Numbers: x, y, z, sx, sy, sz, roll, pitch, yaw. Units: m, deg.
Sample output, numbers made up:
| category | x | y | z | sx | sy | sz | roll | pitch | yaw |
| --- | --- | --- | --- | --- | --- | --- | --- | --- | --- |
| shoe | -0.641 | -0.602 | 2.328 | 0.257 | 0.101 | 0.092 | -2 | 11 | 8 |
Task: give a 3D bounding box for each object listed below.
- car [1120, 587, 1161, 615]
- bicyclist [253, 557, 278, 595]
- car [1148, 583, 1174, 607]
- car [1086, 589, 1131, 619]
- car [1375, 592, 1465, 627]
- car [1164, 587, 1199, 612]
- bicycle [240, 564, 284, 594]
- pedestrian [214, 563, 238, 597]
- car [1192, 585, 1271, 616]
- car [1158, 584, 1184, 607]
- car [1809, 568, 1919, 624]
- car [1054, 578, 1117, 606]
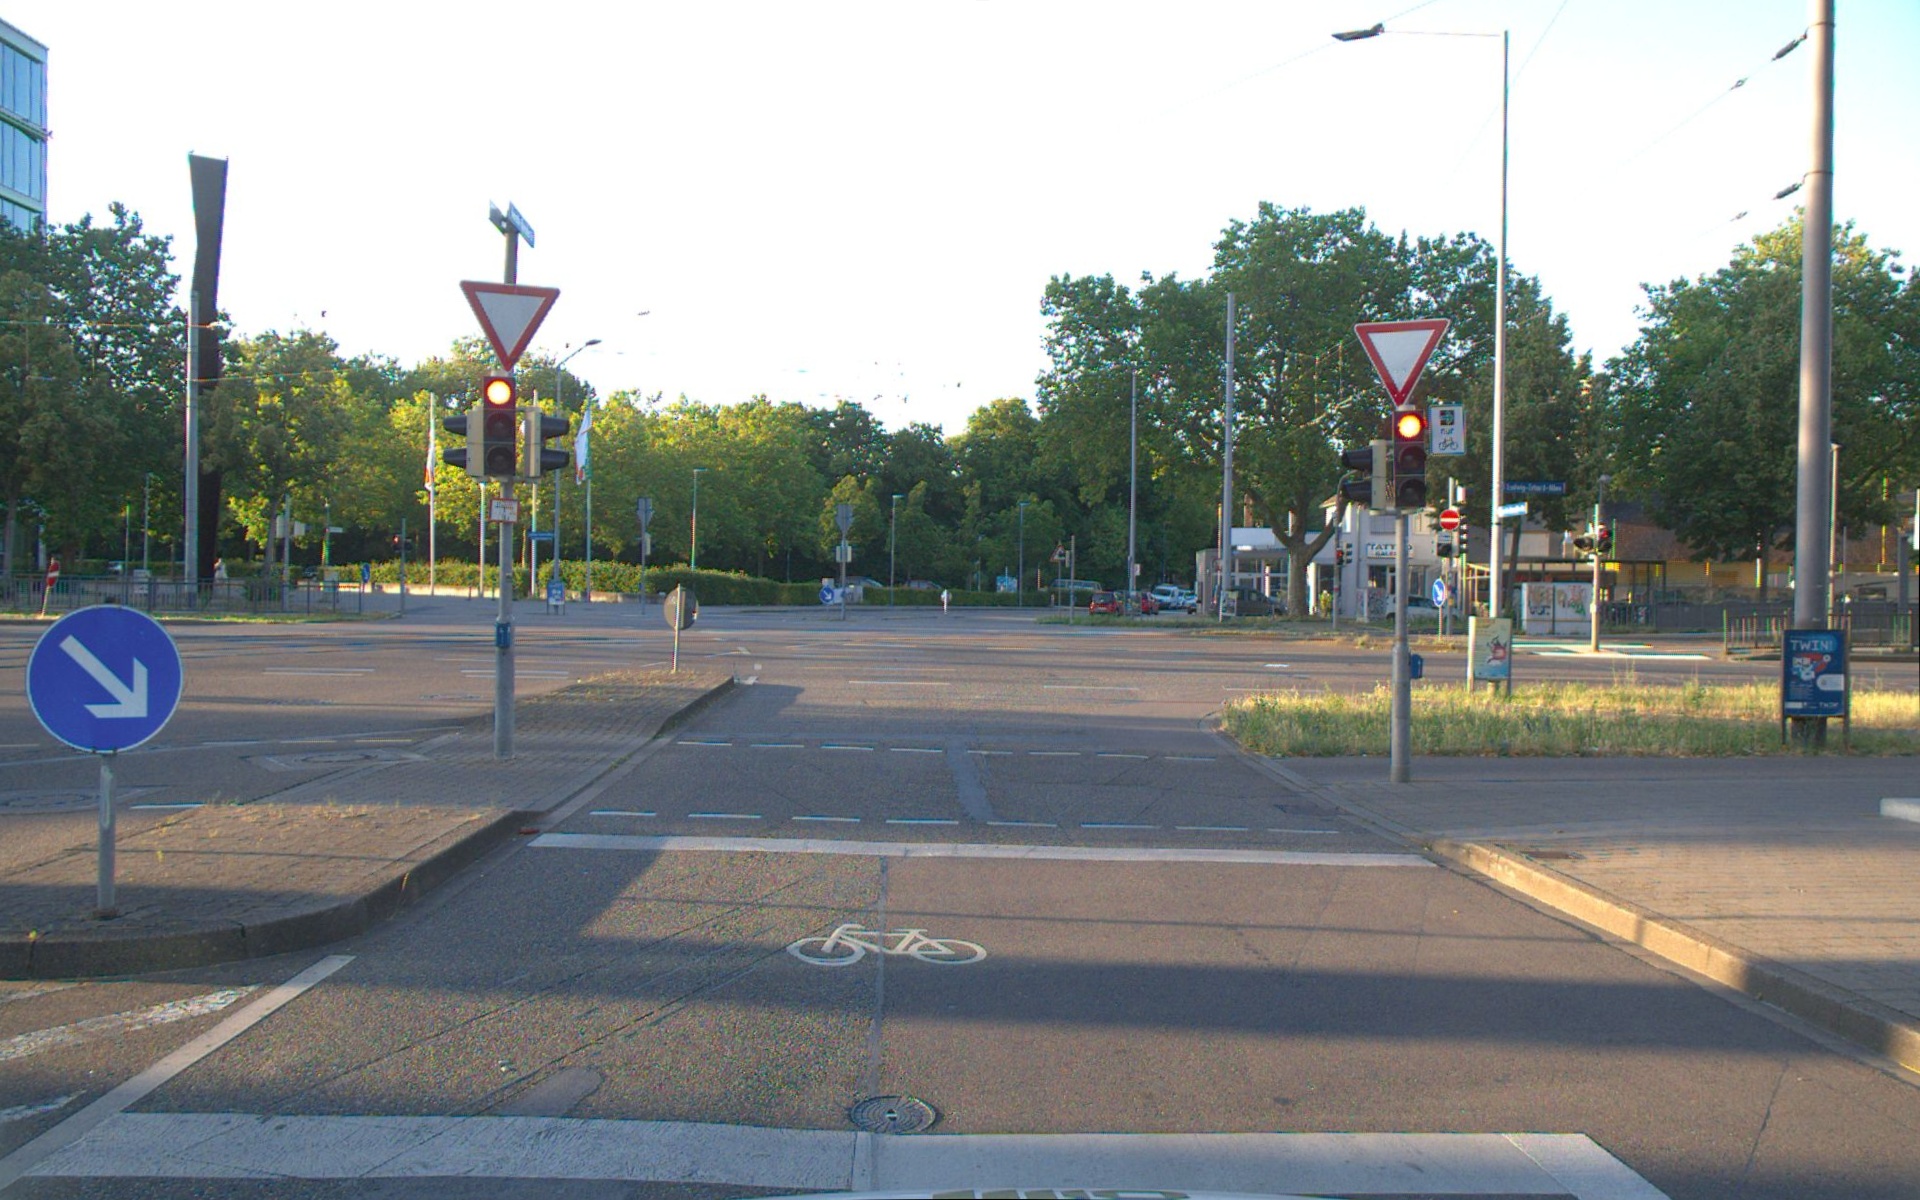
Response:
| category | x | y | z | sx | sy | sz | roll | pitch | yaw |
| --- | --- | --- | --- | --- | --- | --- | --- | --- | --- |
| car | 11.323 | 0.103 | 103.537 | 1.951 | 1.691 | 4.003 | 0 | -1 | 14 |
| bicyclist | -32.603 | -1.122 | 77.690 | 0.903 | 1.739 | 0.749 | 1 | 0 | 40 |
| car | 16.004 | -0.352 | 131.431 | 1.823 | 1.825 | 4.003 | 1 | -1 | 10 |
| car | 8.625 | 0.229 | 95.807 | 1.951 | 1.691 | 4.003 | 0 | -1 | 14 |
| car | 20.163 | 0.428 | 72.599 | 3.659 | 1.465 | 1.665 | 1 | -1 | 9 |
| car | 15.559 | -0.054 | 115.829 | 1.951 | 1.691 | 4.003 | 0 | -1 | 14 |
| bicycle | -32.865 | -0.991 | 77.863 | 2.639 | 1.364 | 0.729 | 1 | 1 | 39 |
| pedestrian | -39.227 | -1.080 | 88.429 | 0.845 | 1.774 | 0.827 | 1 | 0 | 35 |
| car | 14.657 | 0.032 | 89.383 | 4.129 | 1.579 | 2.001 | 1 | -1 | 7 |
| car | 17.413 | -0.341 | 136.347 | 1.823 | 1.825 | 4.003 | 0 | -1 | 12 |
| car | 43.707 | -0.187 | 78.666 | 5.476 | 2.596 | 2.231 | 1 | 0 | 7 |
| car | 9.513 | -0.579 | 126.021 | 4.675 | 2.041 | 2.000 | 1 | -1 | 1 |
